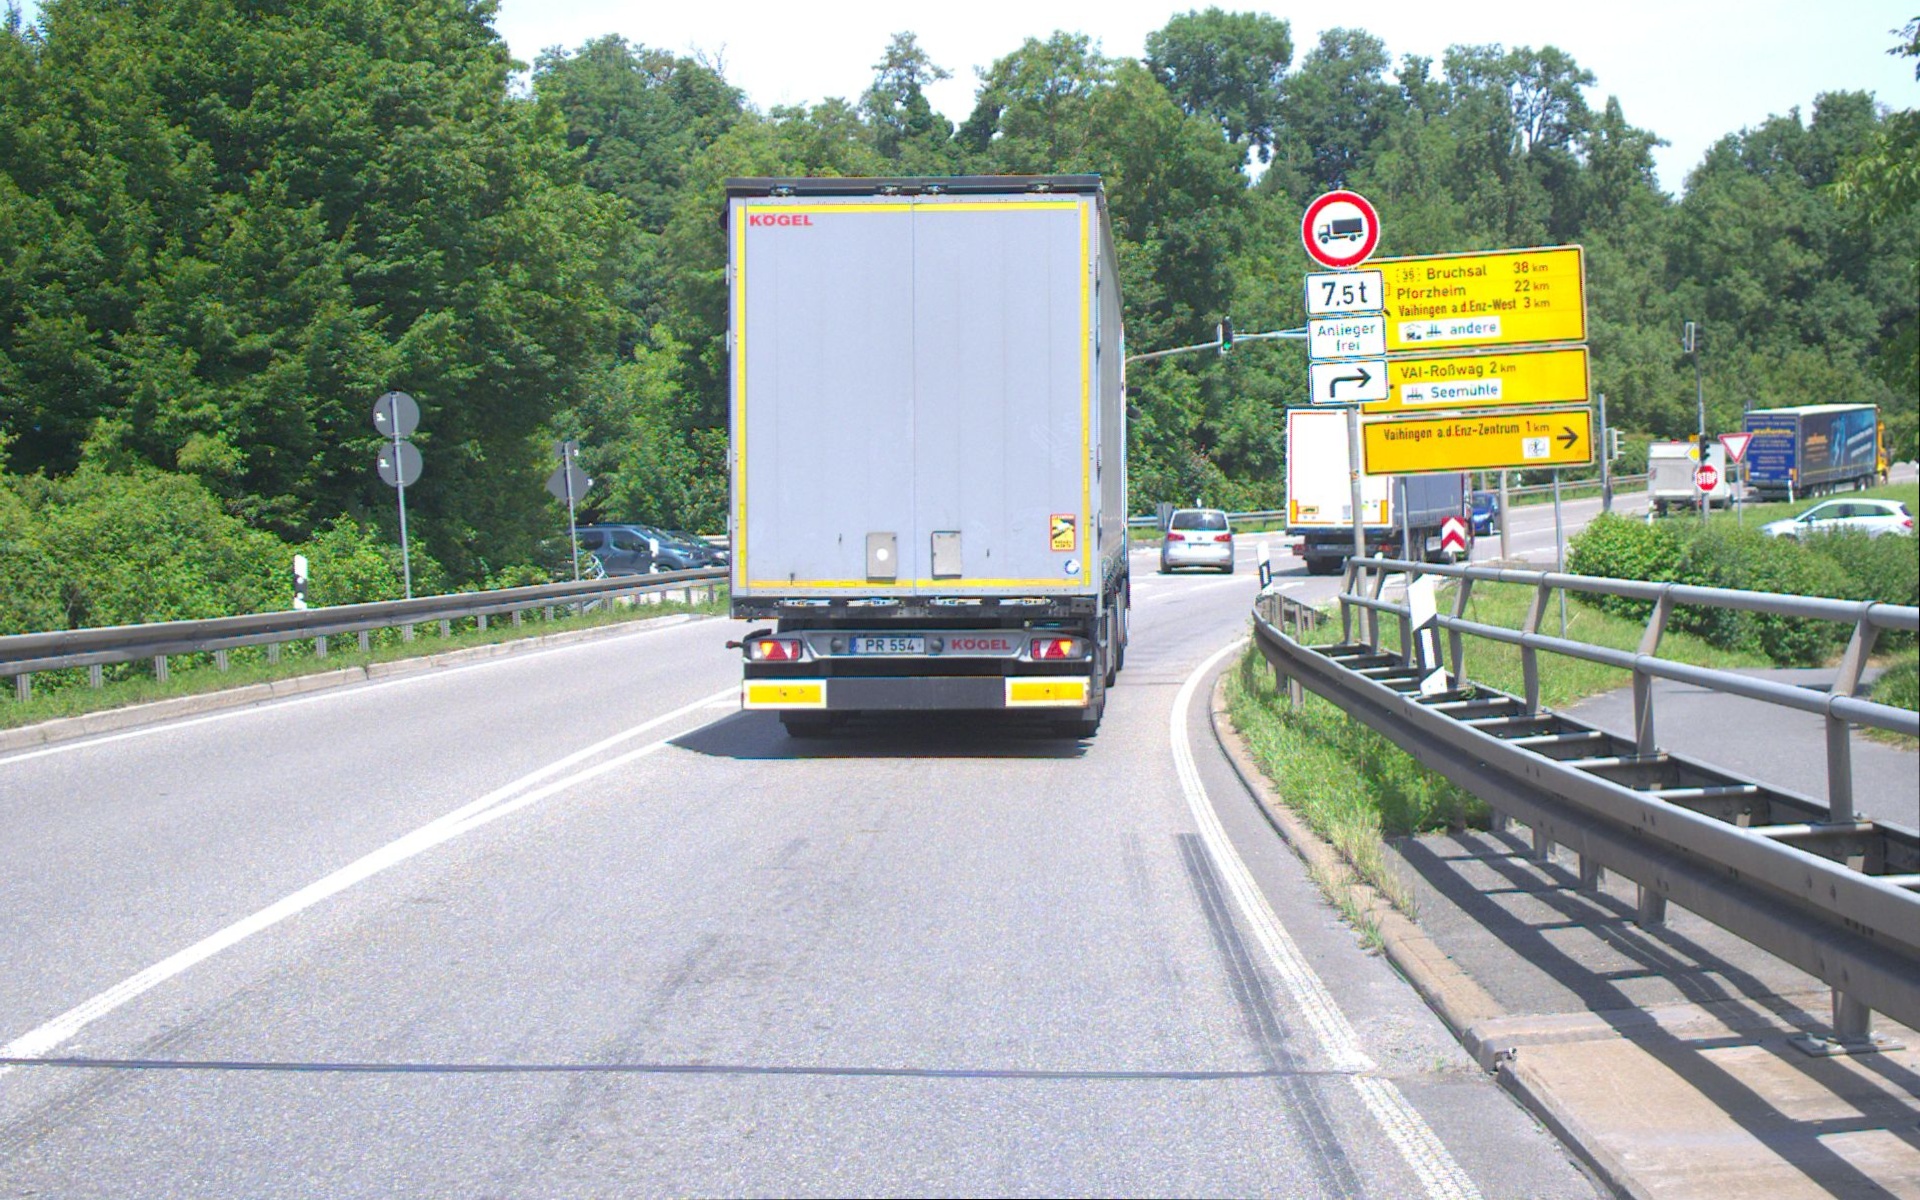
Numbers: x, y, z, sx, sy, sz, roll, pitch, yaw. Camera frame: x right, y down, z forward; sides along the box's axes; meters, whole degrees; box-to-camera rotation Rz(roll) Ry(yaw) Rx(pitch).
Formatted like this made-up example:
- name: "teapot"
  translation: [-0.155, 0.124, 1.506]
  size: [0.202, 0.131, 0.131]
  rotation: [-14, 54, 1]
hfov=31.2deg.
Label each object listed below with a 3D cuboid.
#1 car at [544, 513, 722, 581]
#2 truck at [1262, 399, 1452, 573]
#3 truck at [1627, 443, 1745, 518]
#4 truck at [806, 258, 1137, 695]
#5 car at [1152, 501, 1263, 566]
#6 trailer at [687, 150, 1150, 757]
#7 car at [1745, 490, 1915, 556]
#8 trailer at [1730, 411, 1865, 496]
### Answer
- name: "car"
  translation: [-8.705, -1.411, 91.576]
  size: [4.237, 1.764, 1.998]
  rotation: [0, 1, 19]
- name: "truck"
  translation: [10.031, -2.730, 85.603]
  size: [3.181, 4.015, 11.738]
  rotation: [0, 1, 14]
- name: "truck"
  translation: [29.365, -4.819, 138.794]
  size: [2.859, 2.937, 7.094]
  rotation: [1, 2, 27]
- name: "truck"
  translation: [0.245, -1.200, 35.202]
  size: [3.038, 4.020, 6.629]
  rotation: [-1, 1, 2]
- name: "car"
  translation: [6.192, -1.642, 85.603]
  size: [1.995, 1.514, 3.997]
  rotation: [1, 0, 15]
- name: "trailer"
  translation: [-0.018, -1.087, 29.204]
  size: [3.052, 4.020, 12.558]
  rotation: [-1, 1, 2]
- name: "car"
  translation: [23.733, -2.094, 93.809]
  size: [4.431, 1.712, 1.999]
  rotation: [1, 0, 15]
- name: "trailer"
  translation: [37.625, -6.545, 154.185]
  size: [3.257, 3.672, 9.235]
  rotation: [1, 2, 31]
